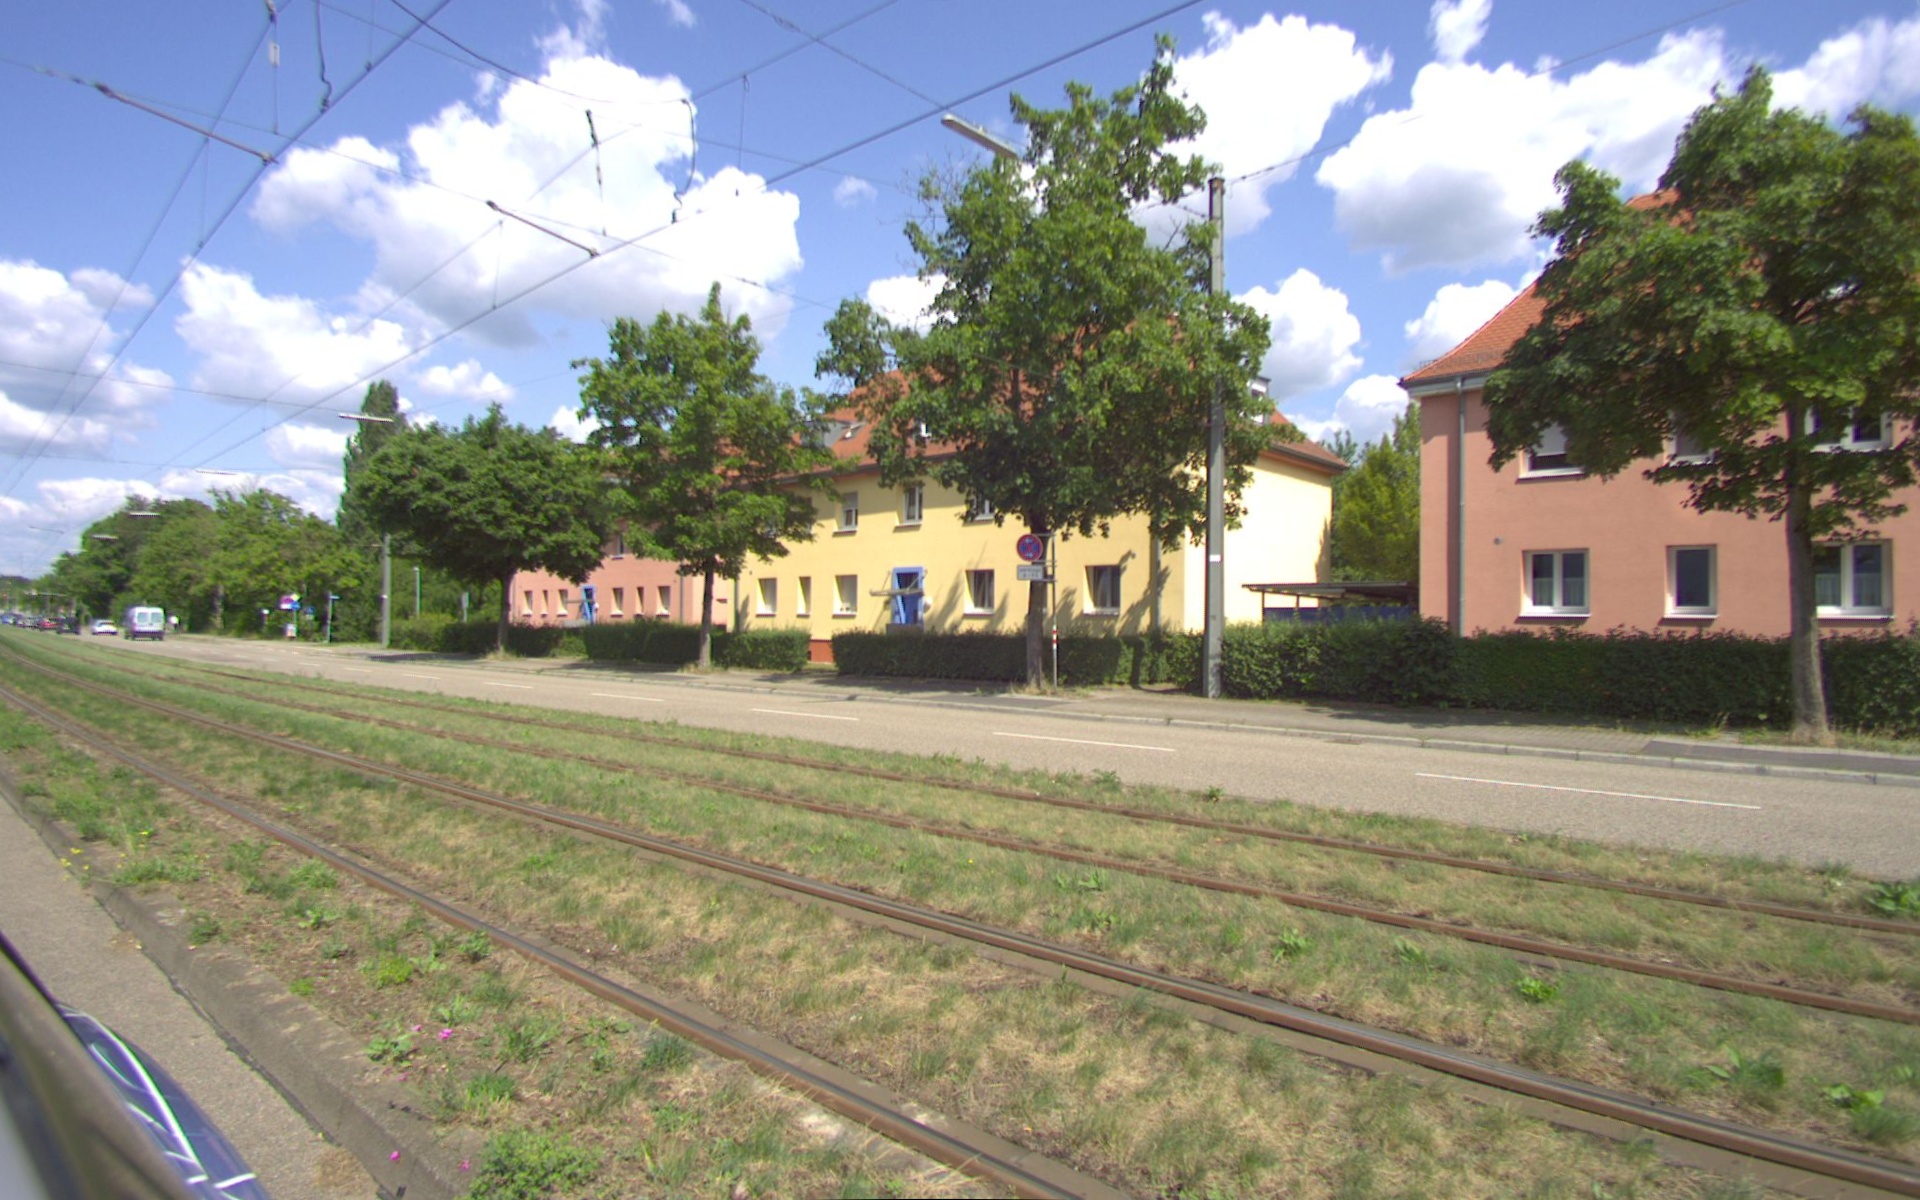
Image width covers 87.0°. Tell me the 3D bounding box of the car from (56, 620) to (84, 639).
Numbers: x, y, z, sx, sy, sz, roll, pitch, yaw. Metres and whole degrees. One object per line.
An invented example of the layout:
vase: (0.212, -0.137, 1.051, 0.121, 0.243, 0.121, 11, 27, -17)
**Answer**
car: (-86.172, 2.855, 97.969, 4.229, 1.760, 1.666, -1, -2, 44)

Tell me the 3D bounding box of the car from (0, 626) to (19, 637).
car: (-148.580, 4.895, 158.165, 2.091, 1.664, 4.279, 2, -2, -45)

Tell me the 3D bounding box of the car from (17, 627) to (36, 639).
car: (-136.210, 4.777, 147.634, 1.895, 1.664, 4.279, 2, -2, -45)

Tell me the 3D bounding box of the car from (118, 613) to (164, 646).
car: (-63.656, 2.323, 78.659, 5.779, 2.455, 2.009, -1, -4, 44)

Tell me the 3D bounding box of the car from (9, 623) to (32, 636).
car: (-126.788, 4.000, 136.604, 2.091, 1.664, 4.279, 2, -2, -45)

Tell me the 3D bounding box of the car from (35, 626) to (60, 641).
car: (-101.798, 3.751, 112.867, 4.277, 1.591, 1.708, -1, -2, 43)

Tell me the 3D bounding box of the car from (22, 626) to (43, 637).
car: (-113.828, 3.856, 124.183, 1.707, 1.405, 4.279, 2, -2, -45)

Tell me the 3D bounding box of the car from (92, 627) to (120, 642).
car: (-84.679, 3.436, 100.292, 4.278, 1.442, 1.666, -1, -2, 44)
